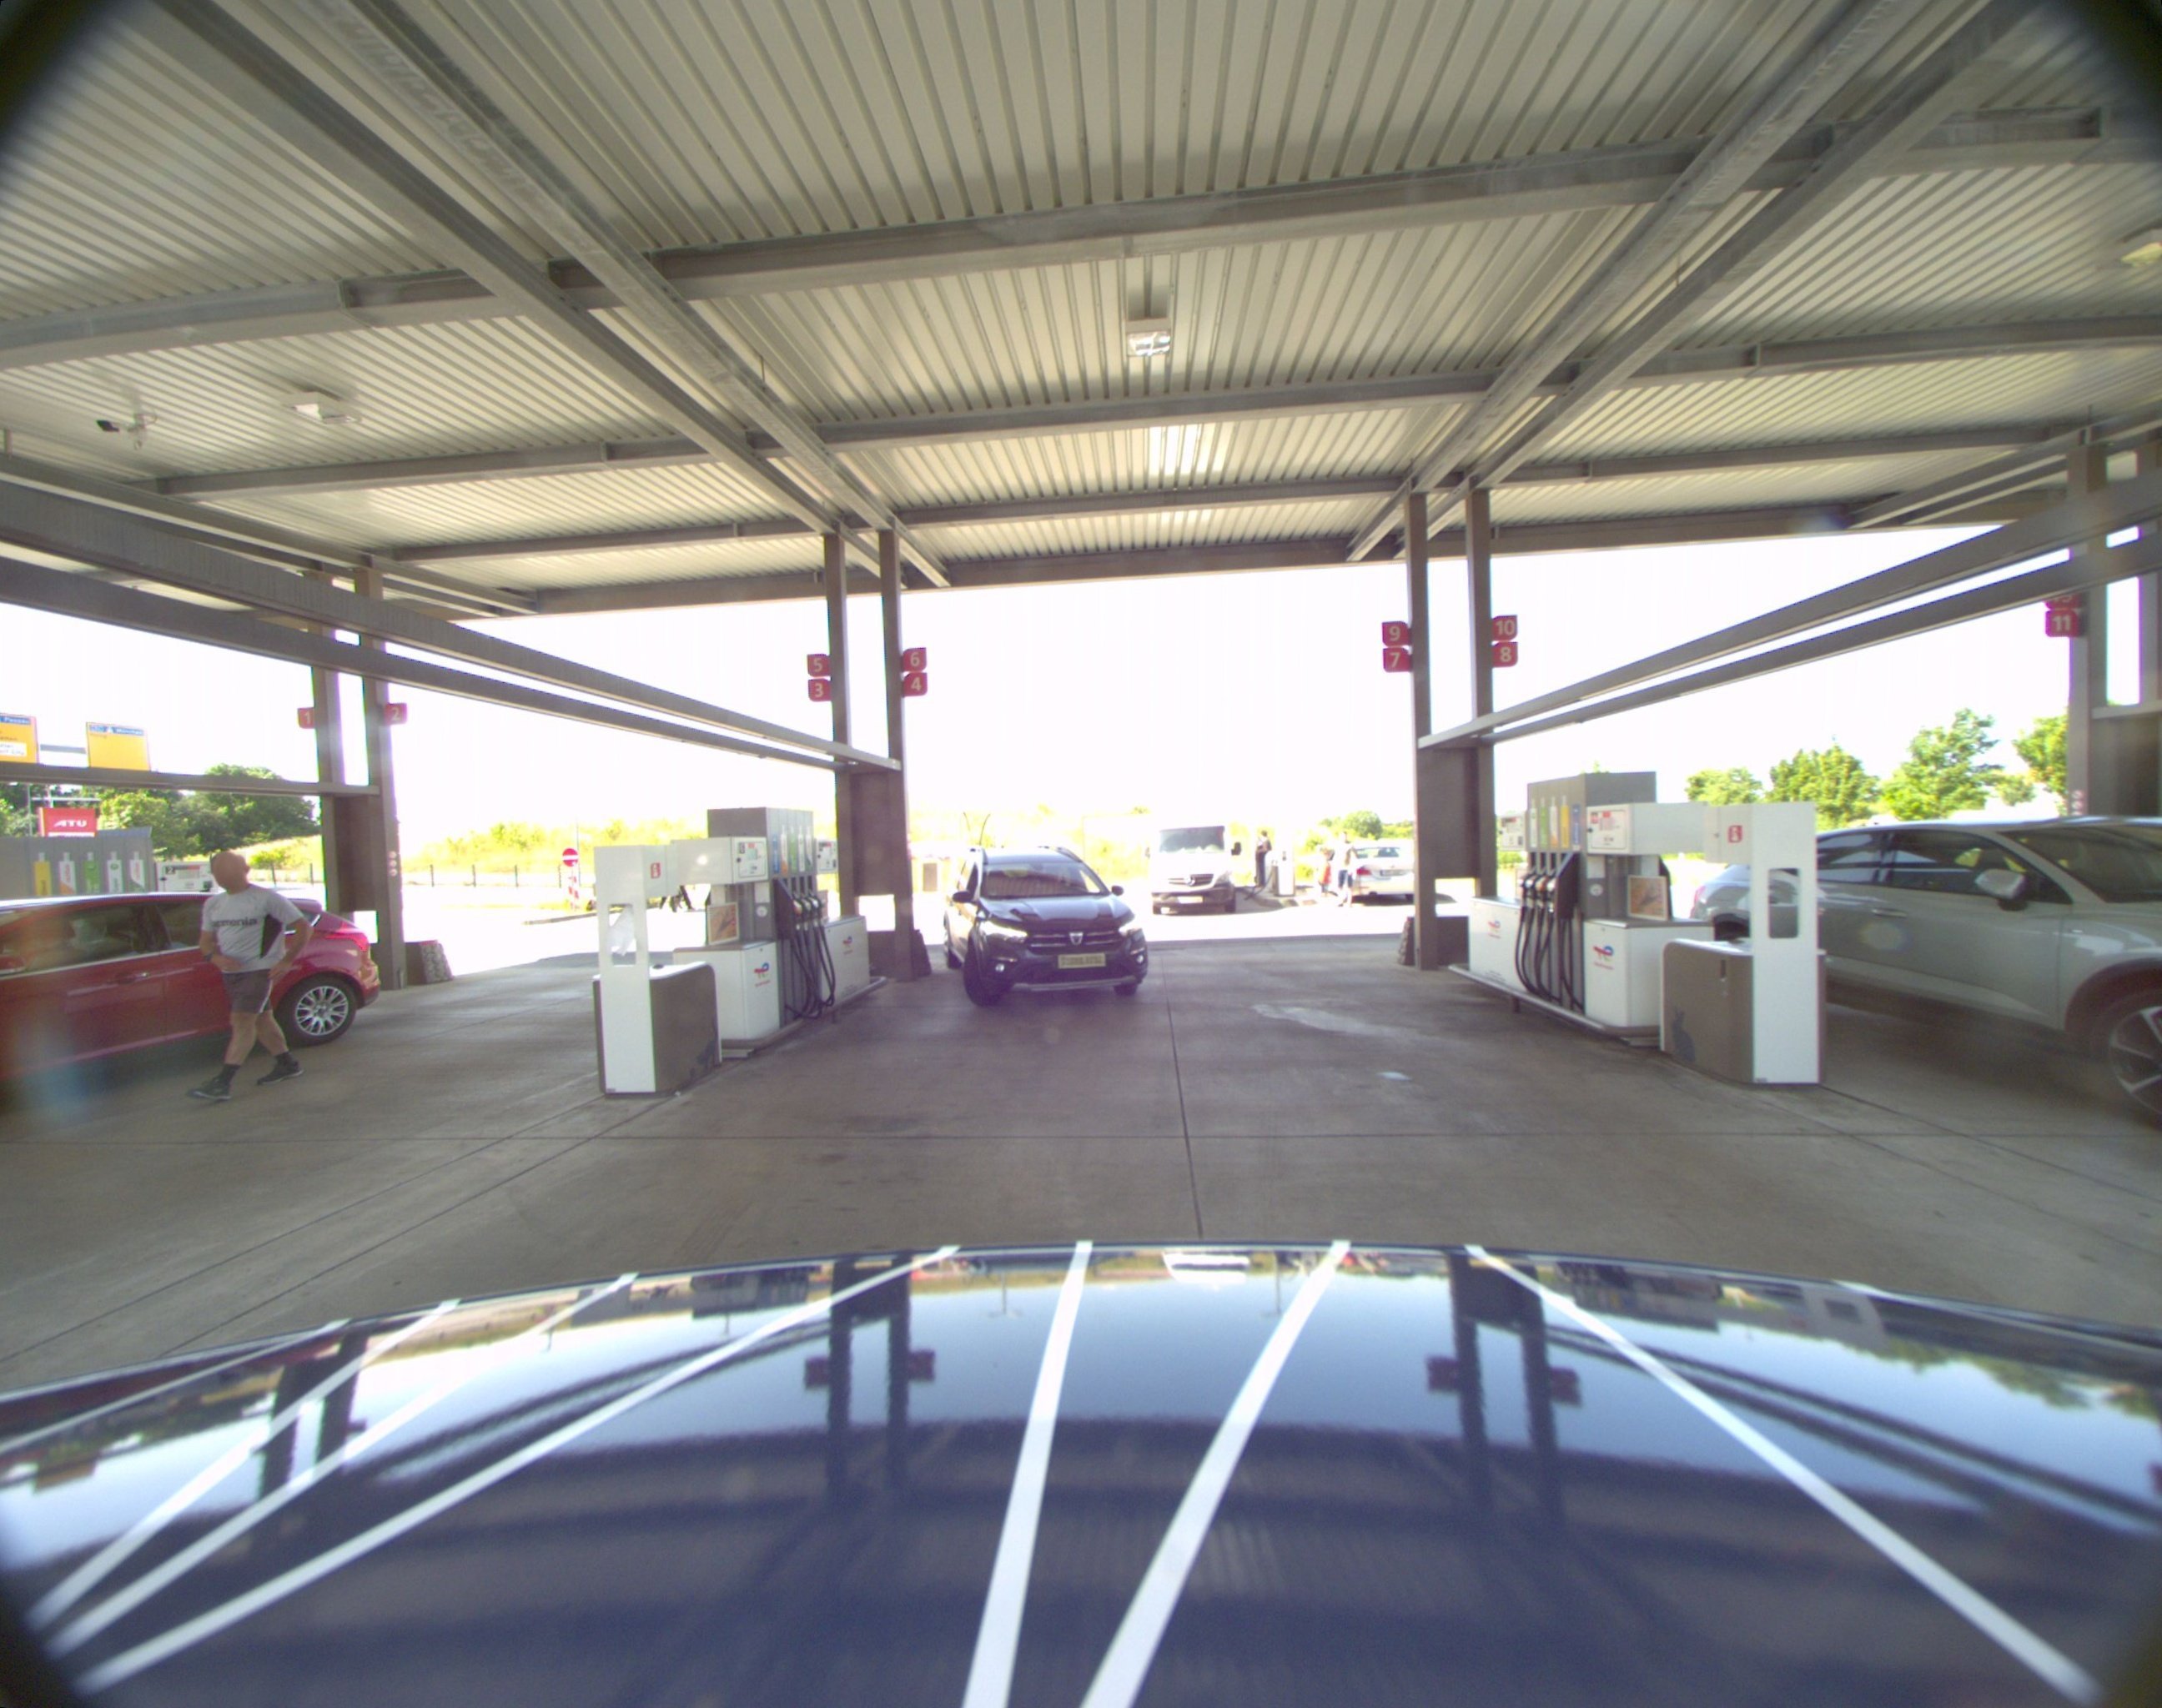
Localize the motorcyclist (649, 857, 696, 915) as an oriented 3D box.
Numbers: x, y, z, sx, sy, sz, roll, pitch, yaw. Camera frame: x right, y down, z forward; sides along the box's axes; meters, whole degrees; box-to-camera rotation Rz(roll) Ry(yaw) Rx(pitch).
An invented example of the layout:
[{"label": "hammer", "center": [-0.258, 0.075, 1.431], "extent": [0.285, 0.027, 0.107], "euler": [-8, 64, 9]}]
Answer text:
[{"label": "motorcyclist", "center": [-12.366, 0.948, 23.035], "extent": [1.035, 1.678, 1.097], "euler": [-2, 1, -20]}]

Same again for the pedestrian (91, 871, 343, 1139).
[{"label": "pedestrian", "center": [-6.102, 0.992, 5.441], "extent": [0.703, 1.693, 0.927], "euler": [-2, 1, -10]}]

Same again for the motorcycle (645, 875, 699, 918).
[{"label": "motorcycle", "center": [-12.390, 1.260, 23.112], "extent": [1.046, 1.100, 2.411], "euler": [-2, 2, -19]}]

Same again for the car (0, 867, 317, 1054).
[{"label": "car", "center": [-12.213, 1.122, 9.081], "extent": [2.035, 1.840, 4.793], "euler": [-1, 0, -12]}]

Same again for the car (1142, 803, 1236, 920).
[{"label": "car", "center": [3.083, 0.012, 20.297], "extent": [1.997, 2.557, 7.033], "euler": [-1, 3, 12]}]

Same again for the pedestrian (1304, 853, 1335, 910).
[{"label": "pedestrian", "center": [5.688, 0.647, 18.125], "extent": [0.577, 1.299, 0.669], "euler": [-2, 1, 7]}]

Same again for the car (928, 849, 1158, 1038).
[{"label": "car", "center": [-0.757, 0.797, 9.240], "extent": [1.745, 1.635, 4.625], "euler": [-2, 1, -16]}]

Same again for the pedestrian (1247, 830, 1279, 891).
[{"label": "pedestrian", "center": [5.392, 0.176, 22.527], "extent": [0.844, 1.759, 0.710], "euler": [-2, 1, 9]}]

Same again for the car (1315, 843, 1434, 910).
[{"label": "car", "center": [7.421, 0.497, 19.655], "extent": [1.791, 1.420, 4.322], "euler": [-2, 2, 6]}]

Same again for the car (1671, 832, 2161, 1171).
[{"label": "car", "center": [5.980, 0.660, 4.569], "extent": [1.784, 1.532, 4.327], "euler": [-2, 1, 5]}]

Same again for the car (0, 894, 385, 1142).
[{"label": "car", "center": [-7.890, 1.172, 5.414], "extent": [1.702, 1.460, 4.234], "euler": [-2, 1, 5]}]

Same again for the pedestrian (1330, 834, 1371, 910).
[{"label": "pedestrian", "center": [6.313, 0.411, 17.827], "extent": [0.708, 1.739, 0.845], "euler": [-2, 1, 7]}]
